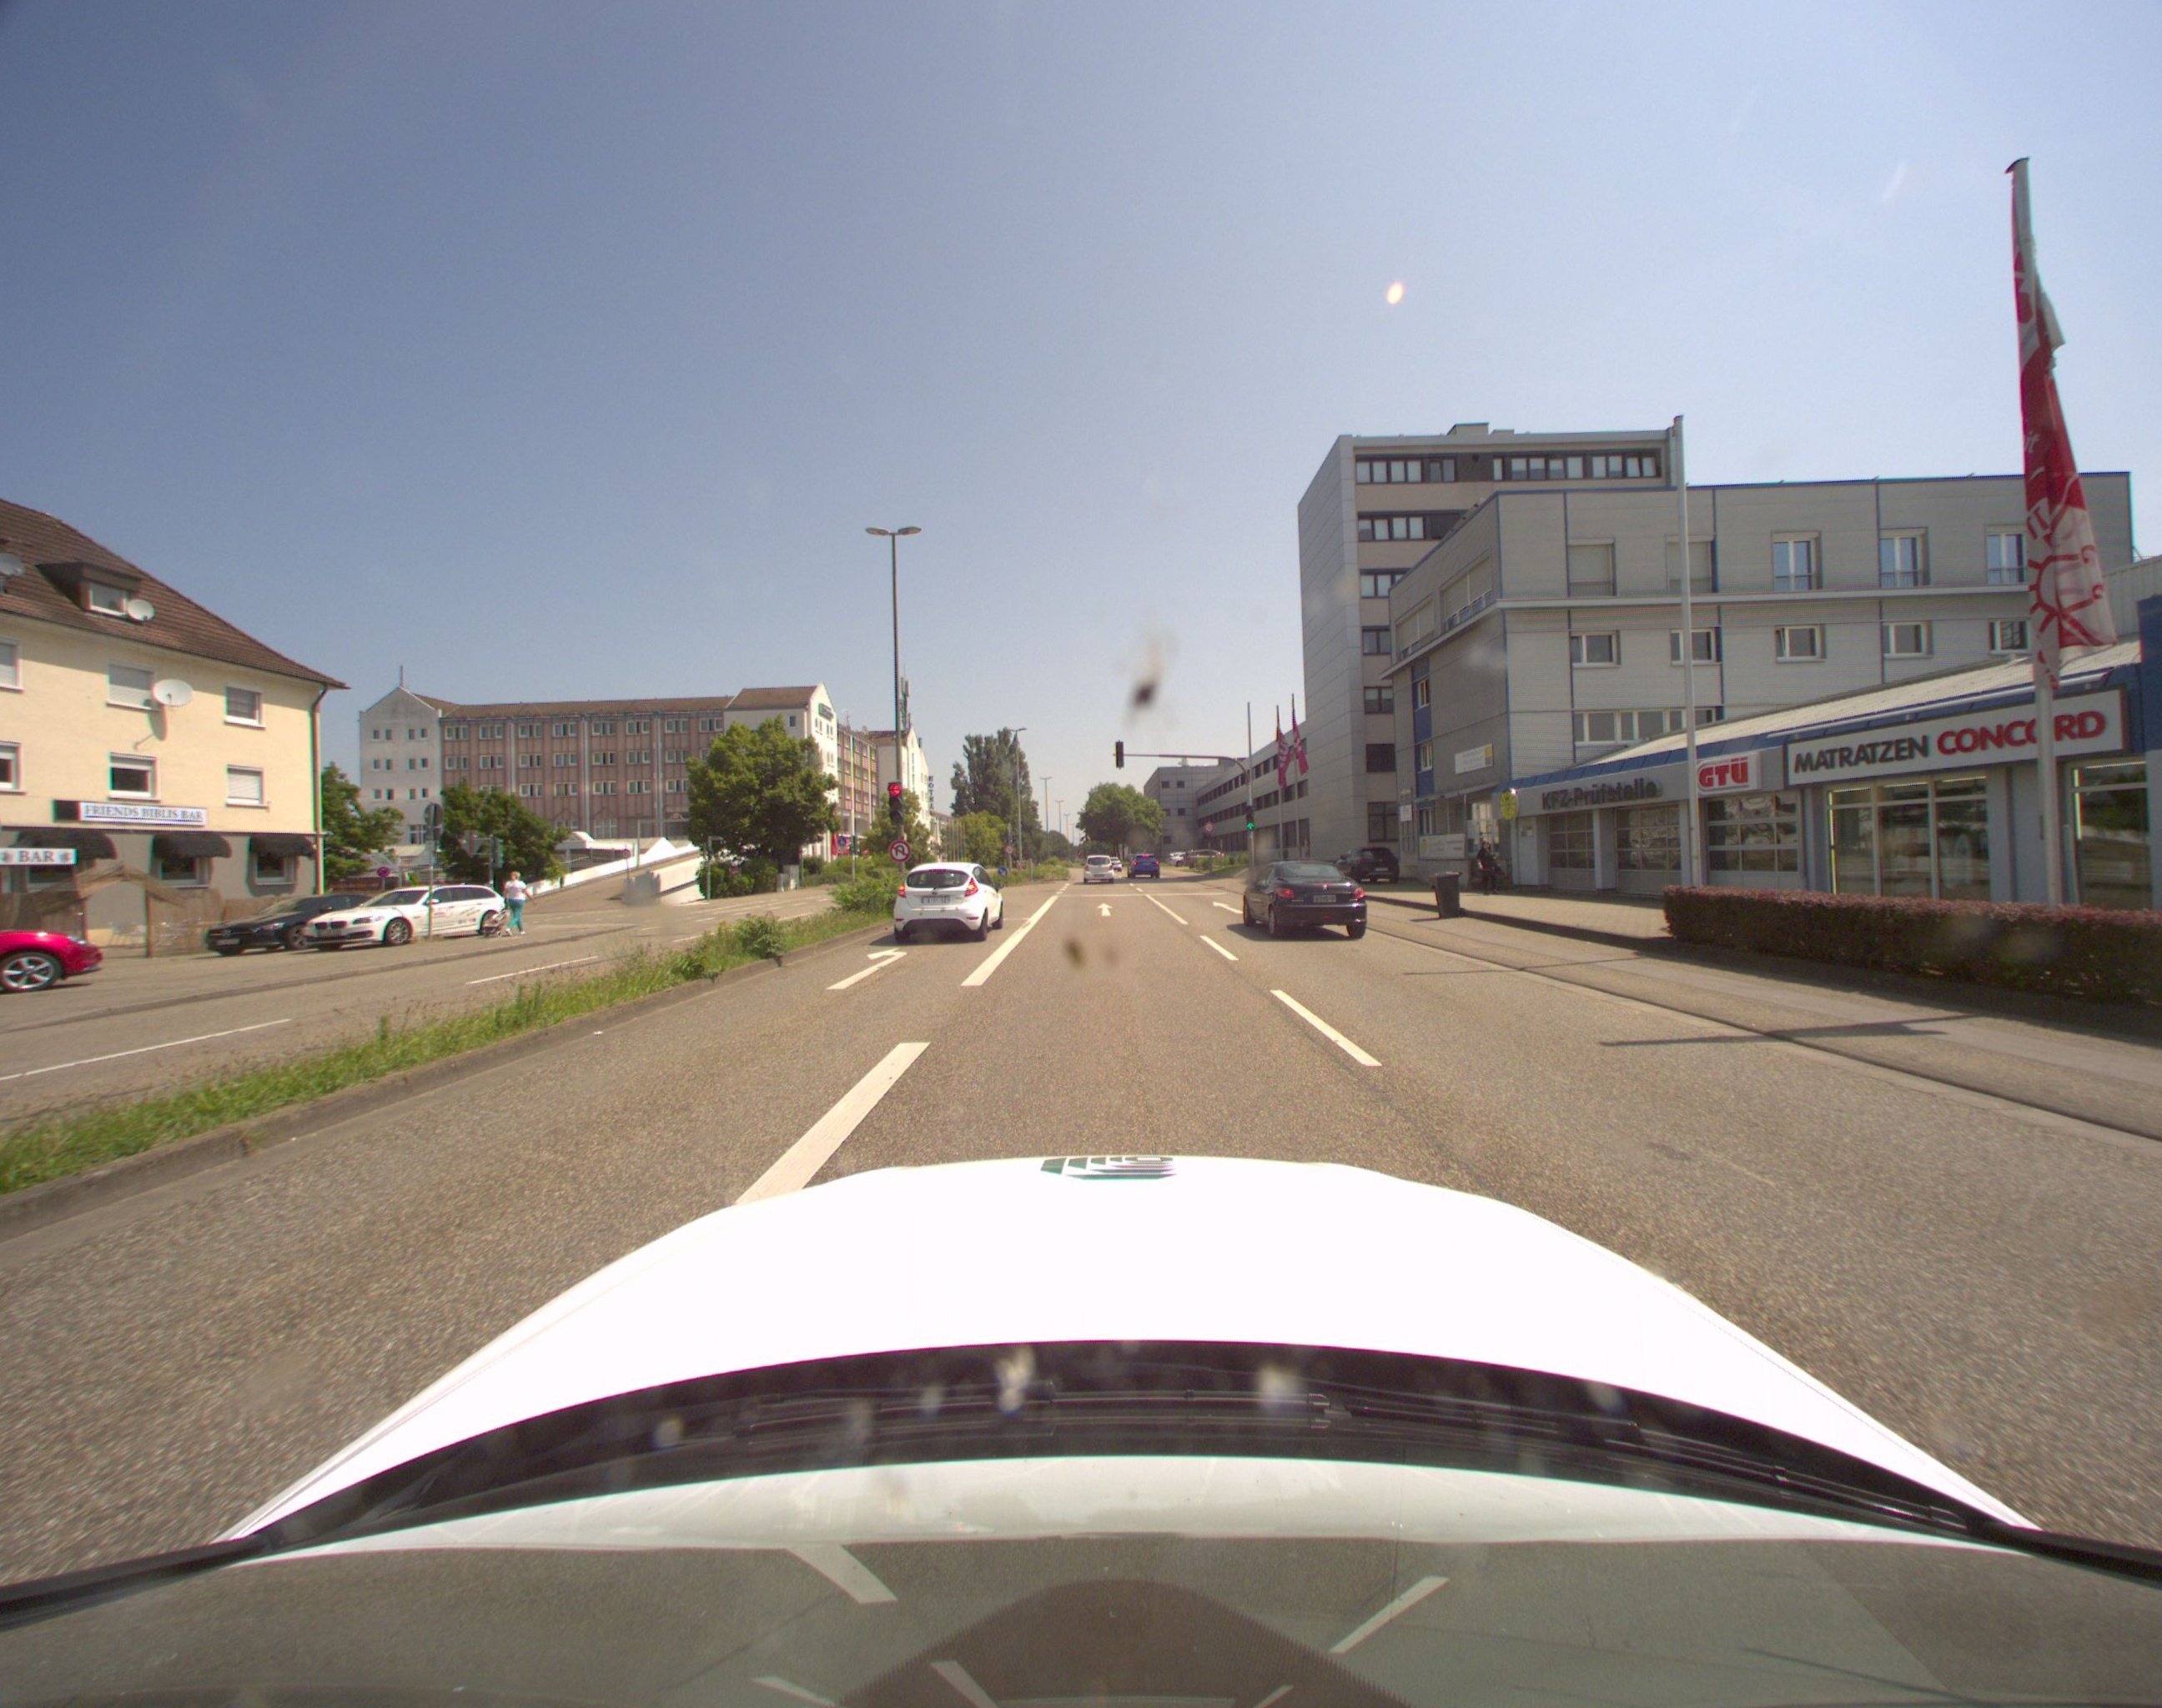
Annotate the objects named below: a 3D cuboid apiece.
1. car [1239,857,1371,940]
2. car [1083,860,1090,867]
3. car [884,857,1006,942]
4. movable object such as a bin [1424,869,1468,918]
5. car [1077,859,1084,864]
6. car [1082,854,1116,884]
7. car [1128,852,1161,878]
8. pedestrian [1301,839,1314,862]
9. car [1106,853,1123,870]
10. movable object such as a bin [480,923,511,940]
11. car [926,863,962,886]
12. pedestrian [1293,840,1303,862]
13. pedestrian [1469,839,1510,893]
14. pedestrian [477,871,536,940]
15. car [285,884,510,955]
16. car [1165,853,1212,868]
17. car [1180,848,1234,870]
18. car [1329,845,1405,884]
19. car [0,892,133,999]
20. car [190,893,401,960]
[{"bbox_3d":[4.150,0.759,15.620,1.621,1.364,3.607,-1,0,2],"label":"car"},{"bbox_3d":[1.428,2.433,211.345,1.814,1.662,3.999,-2,0,0],"label":"car"},{"bbox_3d":[-2.566,0.811,16.197,1.682,1.434,3.712,-2,0,1],"label":"car"},{"bbox_3d":[7.419,0.798,16.563,0.549,0.919,0.653,-5,0,1],"label":"movable object such as a bin"},{"bbox_3d":[-0.155,2.382,254.921,1.815,1.662,3.995,-2,0,-3],"label":"car"},{"bbox_3d":[1.025,0.792,44.638,1.741,1.520,3.748,-1,0,2],"label":"car"},{"bbox_3d":[4.160,0.677,53.521,1.822,1.580,3.604,-2,0,0],"label":"car"},{"bbox_3d":[16.594,-0.260,59.681,0.523,1.663,0.752,-2,0,-17],"label":"pedestrian"},{"bbox_3d":[3.322,0.705,79.557,1.552,1.520,3.609,-2,0,4],"label":"car"},{"bbox_3d":[-15.227,2.010,21.189,0.415,0.372,0.507,-2,0,2],"label":"movable object such as a bin"},{"bbox_3d":[-10.060,1.492,60.302,1.988,1.486,4.497,-2,0,-2],"label":"car"},{"bbox_3d":[16.347,-0.209,61.359,0.589,1.634,0.524,-3,0,9],"label":"pedestrian"},{"bbox_3d":[12.619,0.359,25.160,0.806,1.627,0.853,-2,0,4],"label":"pedestrian"},{"bbox_3d":[-15.182,1.337,21.559,0.737,1.747,1.034,-2,0,3],"label":"pedestrian"},{"bbox_3d":[-17.534,1.616,21.290,1.770,1.410,4.759,-2,0,1],"label":"car"},{"bbox_3d":[11.264,0.676,85.552,4.604,1.390,1.997,-2,0,-4],"label":"car"},{"bbox_3d":[10.816,0.460,69.935,4.250,1.689,1.997,-2,0,-4],"label":"car"},{"bbox_3d":[12.093,0.425,34.742,1.837,1.531,4.197,0,0,1],"label":"car"},{"bbox_3d":[-18.547,1.556,13.035,1.816,1.642,4.205,-2,0,35],"label":"car"},{"bbox_3d":[-20.544,1.834,21.572,1.728,1.351,3.997,-2,0,-2],"label":"car"}]
